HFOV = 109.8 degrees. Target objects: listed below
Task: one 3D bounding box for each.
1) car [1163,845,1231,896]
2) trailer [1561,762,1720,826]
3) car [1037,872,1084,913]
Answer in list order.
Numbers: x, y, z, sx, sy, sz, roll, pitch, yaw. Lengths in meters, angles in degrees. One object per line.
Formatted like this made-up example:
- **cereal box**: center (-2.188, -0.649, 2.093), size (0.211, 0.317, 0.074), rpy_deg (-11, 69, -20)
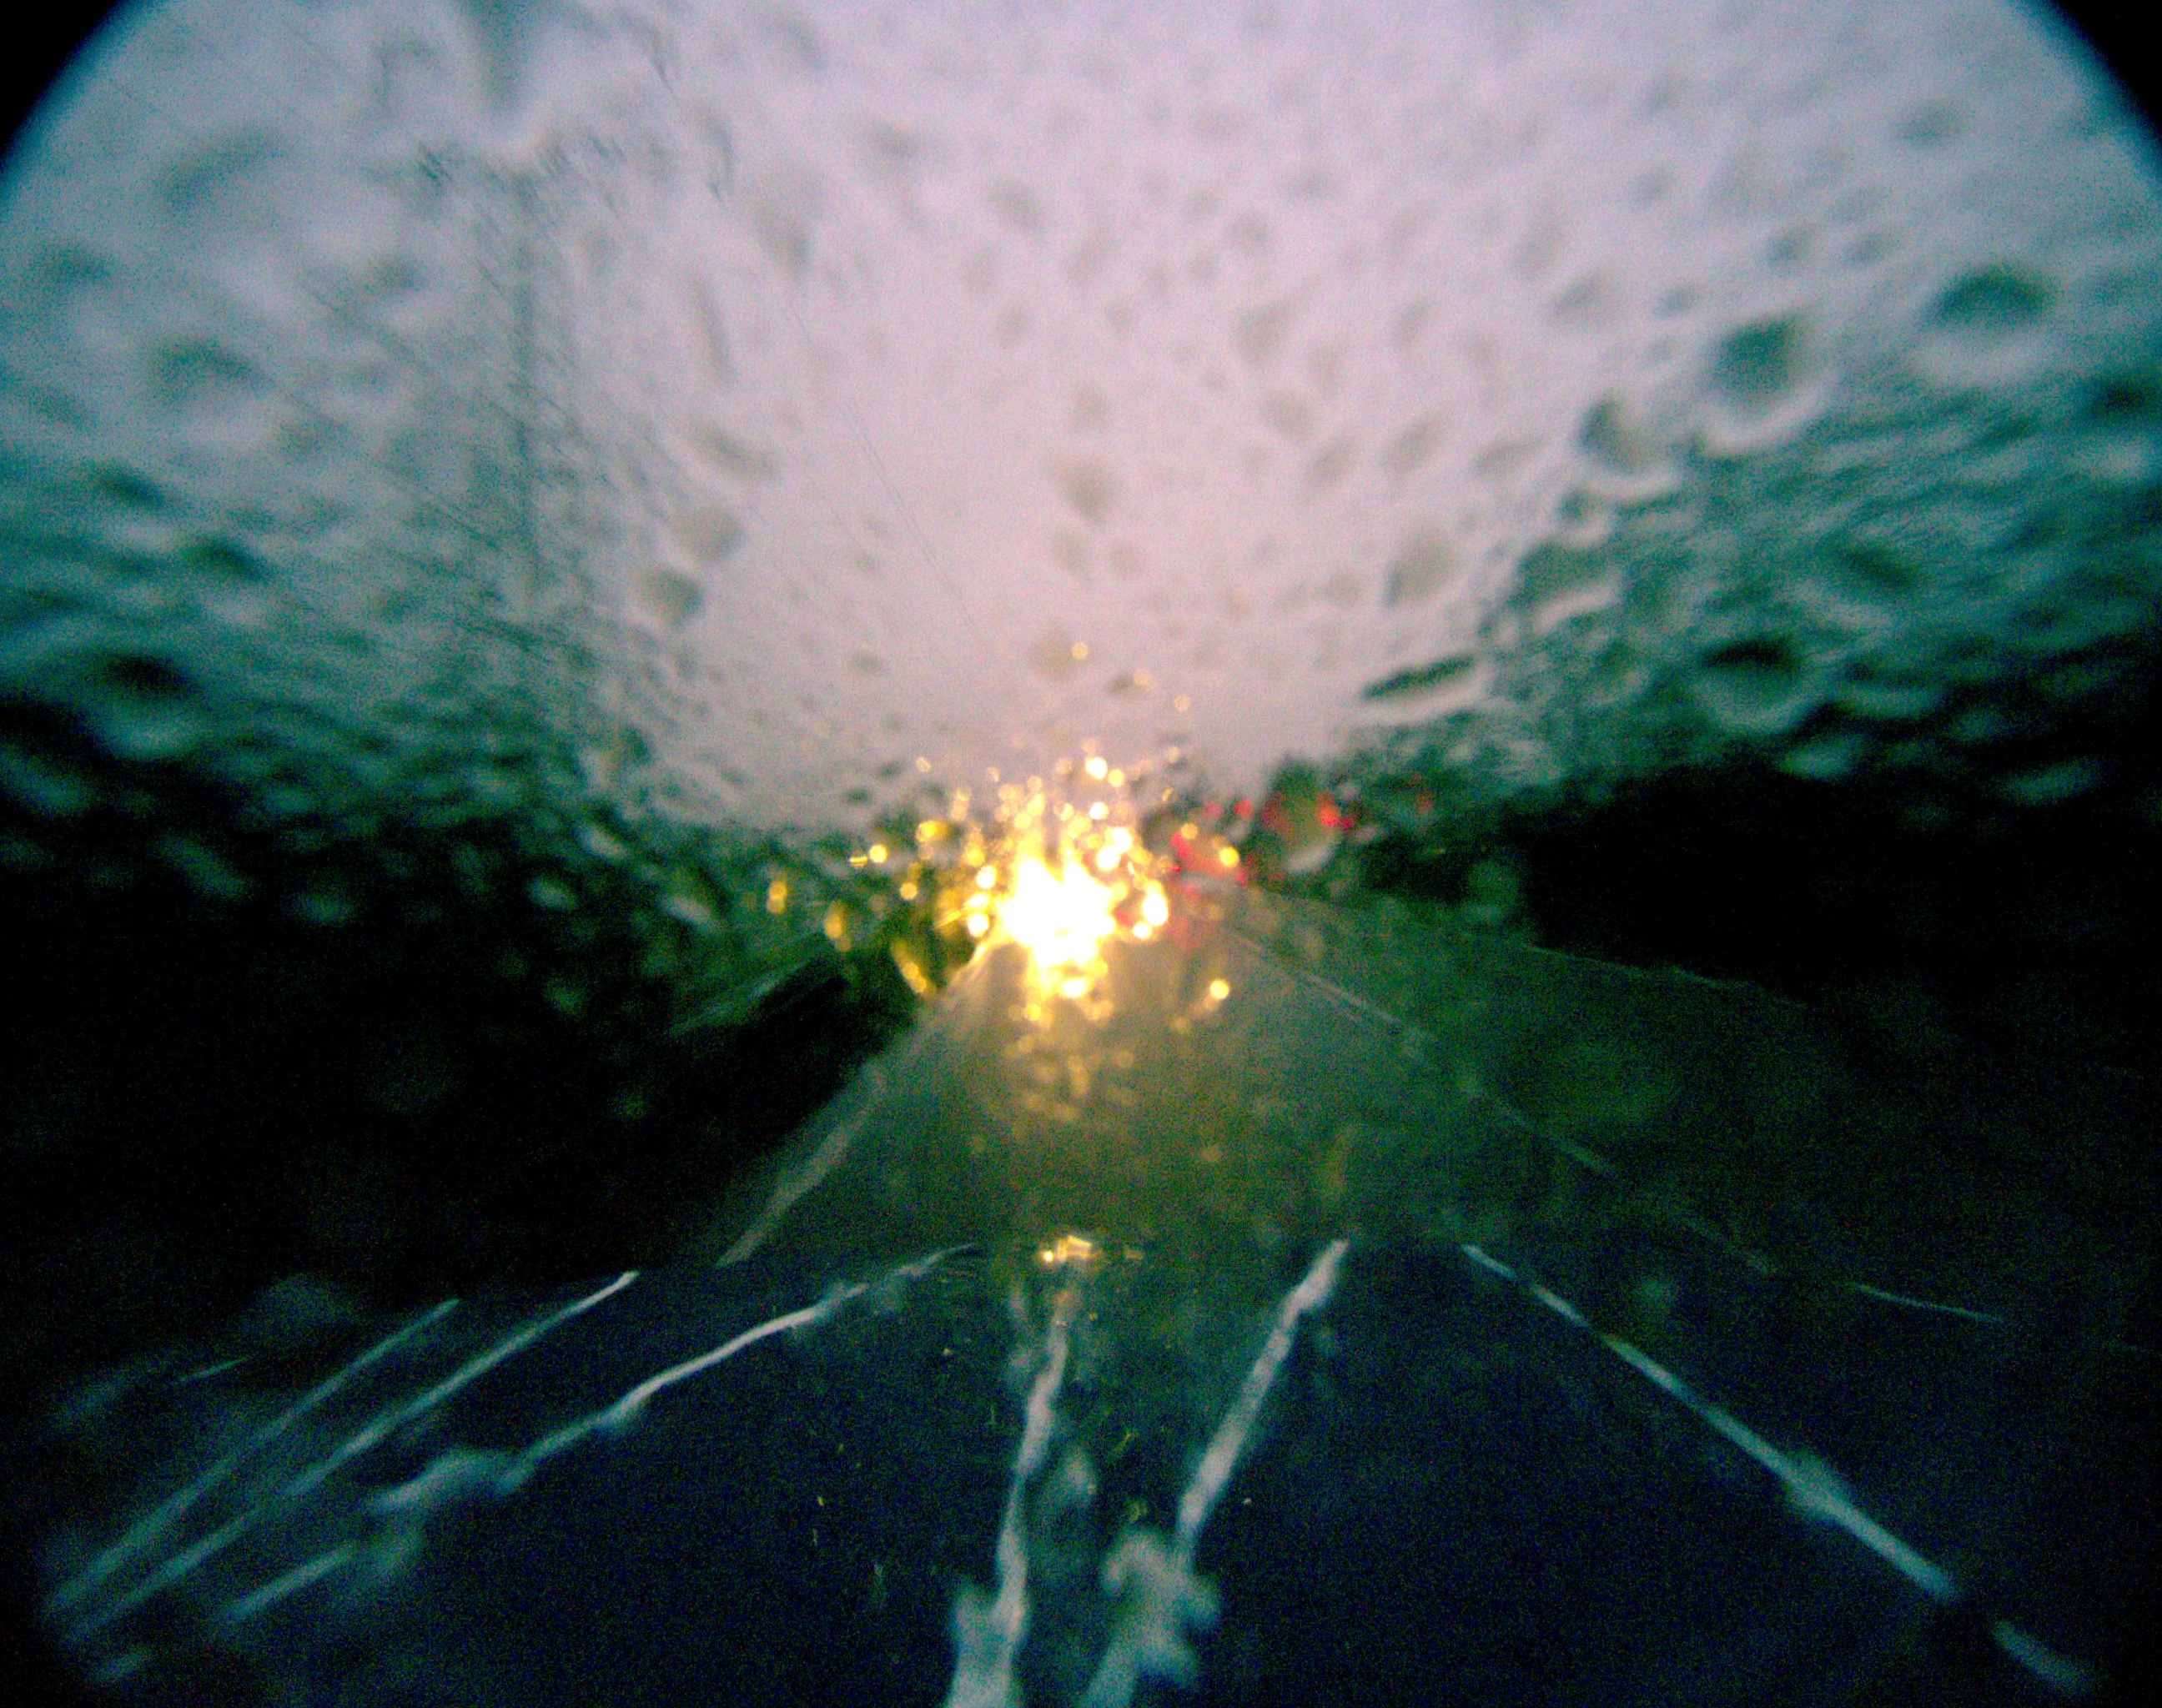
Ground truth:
- **car**: center (4.169, 0.532, 27.897), size (1.910, 1.653, 3.999), rpy_deg (-2, 1, 1)
- **trailer**: center (33.529, -3.407, 46.368), size (2.441, 2.874, 11.091), rpy_deg (-1, -1, 5)
- **car**: center (-0.878, 1.678, 34.236), size (1.910, 1.652, 4.000), rpy_deg (-2, 0, 0)
